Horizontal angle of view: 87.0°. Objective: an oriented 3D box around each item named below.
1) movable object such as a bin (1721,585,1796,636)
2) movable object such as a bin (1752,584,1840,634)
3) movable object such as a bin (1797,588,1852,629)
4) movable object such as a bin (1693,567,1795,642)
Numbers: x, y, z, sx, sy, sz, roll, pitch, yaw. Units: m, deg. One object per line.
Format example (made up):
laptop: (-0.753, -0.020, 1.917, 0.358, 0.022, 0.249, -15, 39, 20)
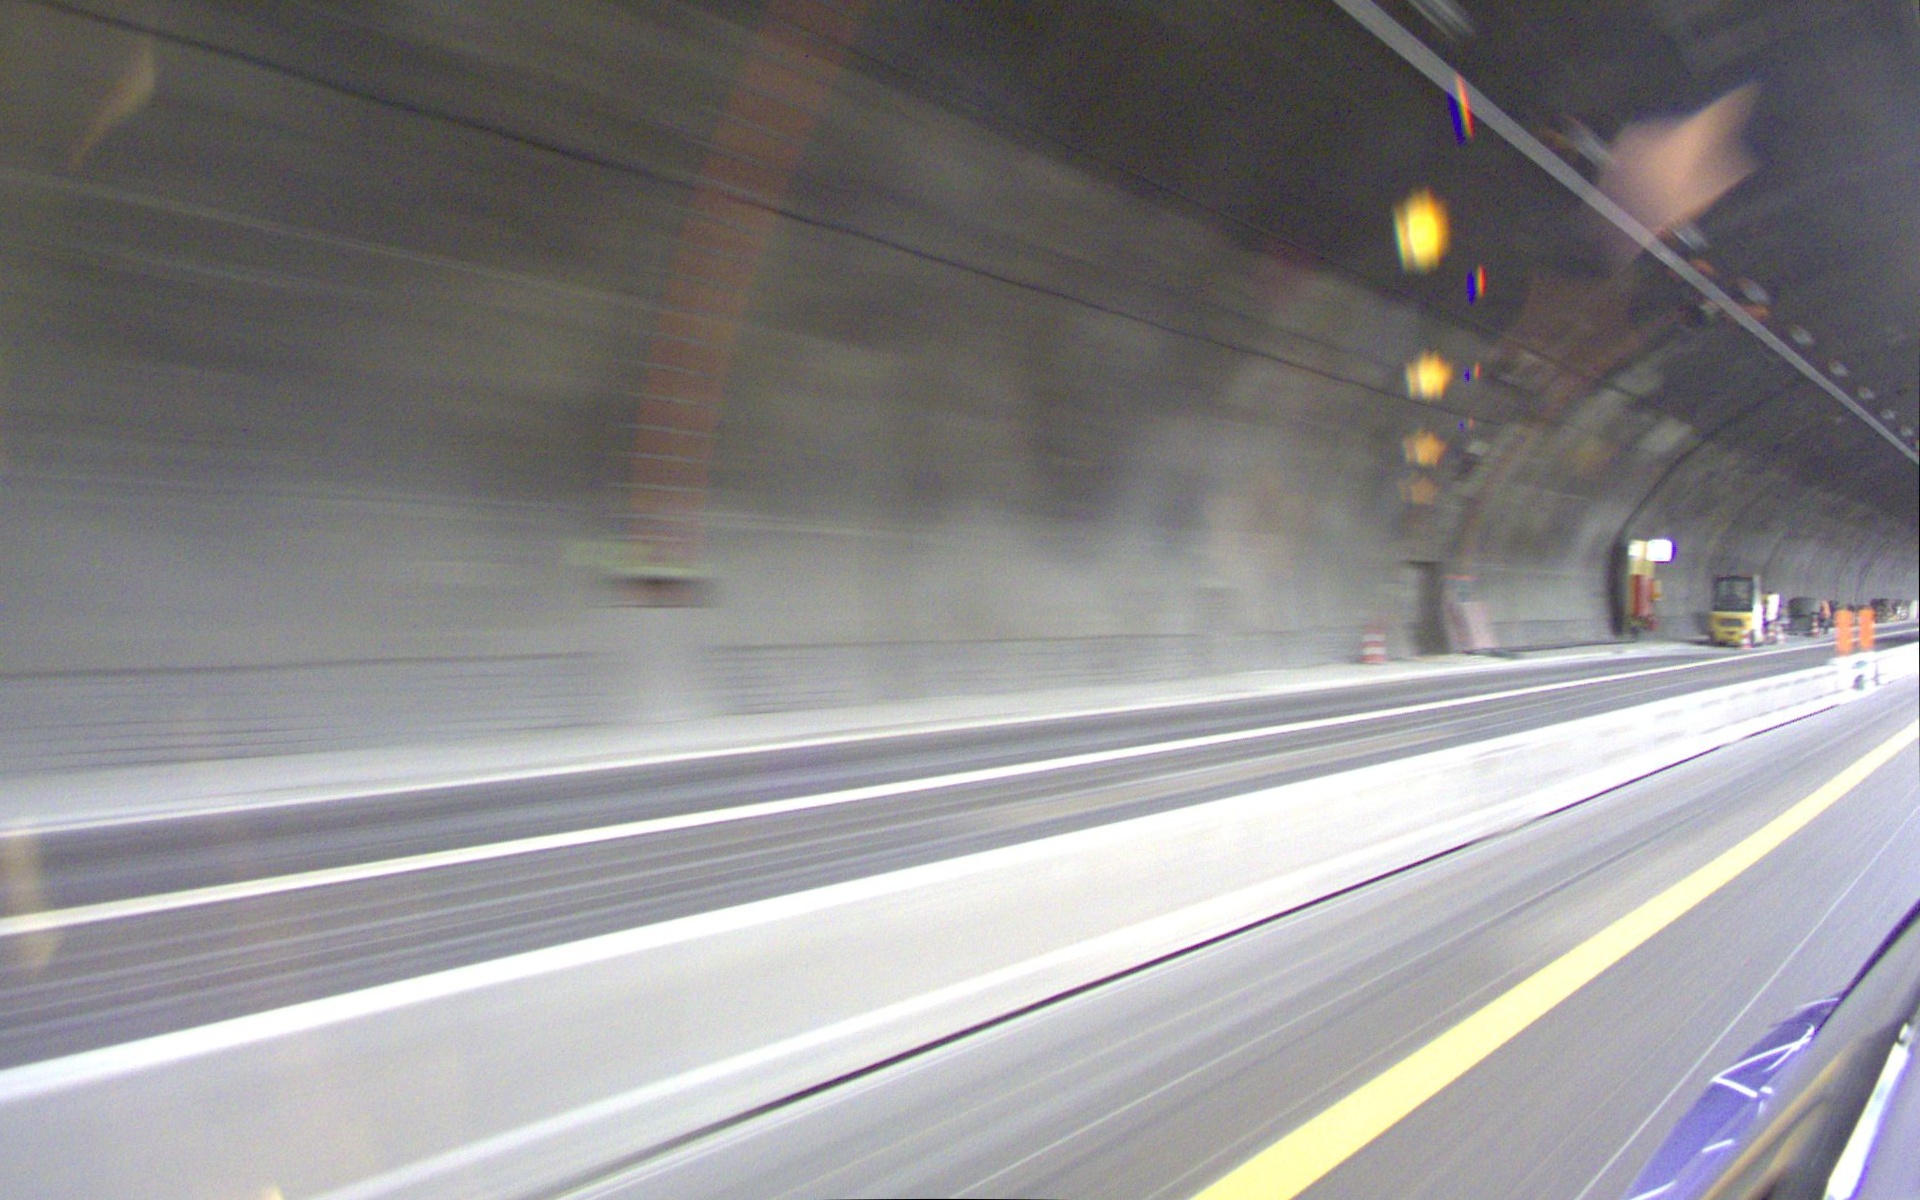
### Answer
movable object such as a bin: (28.291, 0.337, 35.830, 3.002, 1.730, 1.558, -1, 1, -41)
movable object such as a bin: (32.581, 0.340, 39.396, 4.423, 1.695, 1.865, 0, 4, -41)
movable object such as a bin: (37.175, 0.357, 43.498, 3.002, 1.613, 1.306, 0, 4, -41)
movable object such as a bin: (24.474, 0.100, 31.540, 4.548, 2.172, 1.686, -1, 1, -41)
